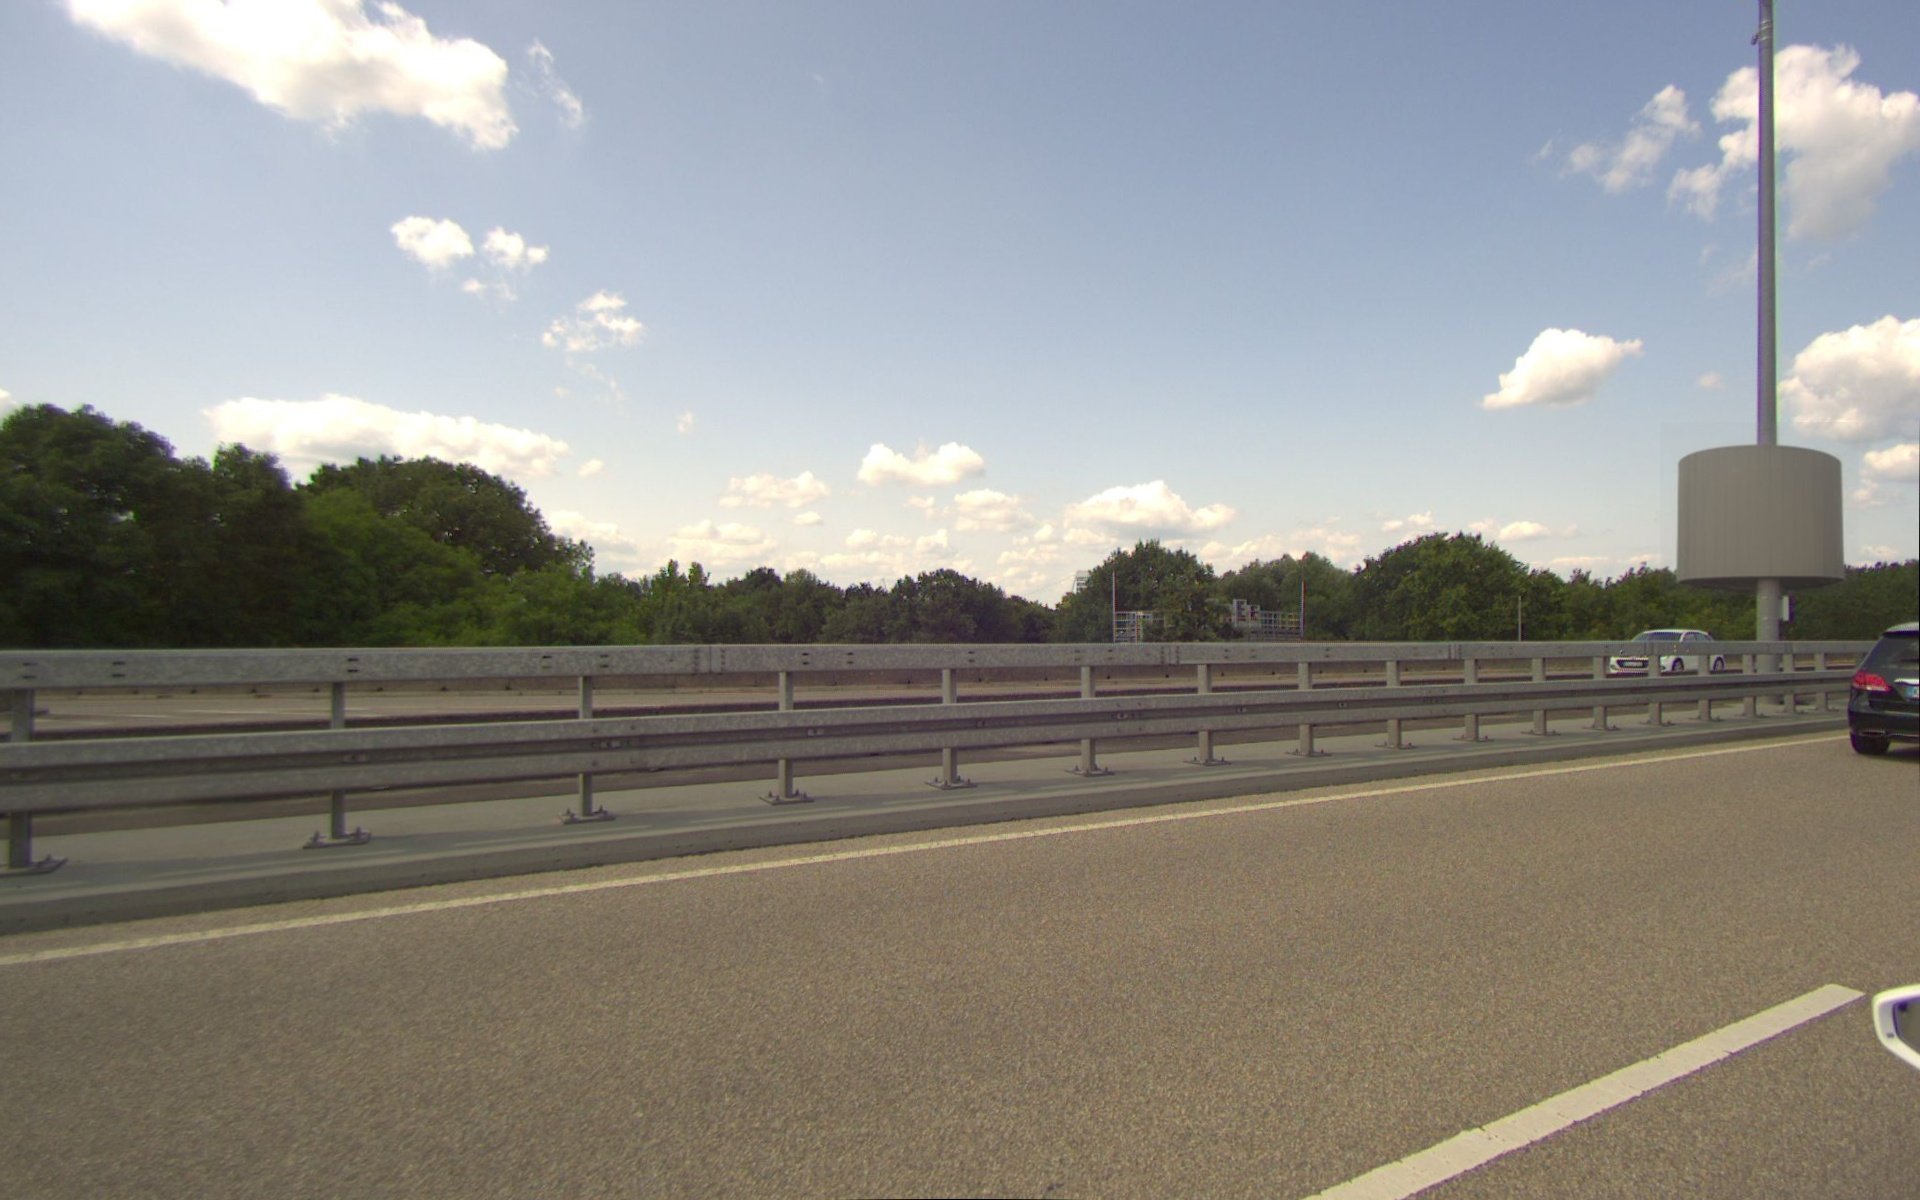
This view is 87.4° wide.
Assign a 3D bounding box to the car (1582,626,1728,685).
[{"bbox_3d":[21.050,1.623,30.391,4.656,1.617,1.789,1,0,-30],"label":"car"}]

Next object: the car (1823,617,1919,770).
[{"bbox_3d":[11.893,1.012,11.477,4.539,1.548,1.703,1,0,-31],"label":"car"}]
